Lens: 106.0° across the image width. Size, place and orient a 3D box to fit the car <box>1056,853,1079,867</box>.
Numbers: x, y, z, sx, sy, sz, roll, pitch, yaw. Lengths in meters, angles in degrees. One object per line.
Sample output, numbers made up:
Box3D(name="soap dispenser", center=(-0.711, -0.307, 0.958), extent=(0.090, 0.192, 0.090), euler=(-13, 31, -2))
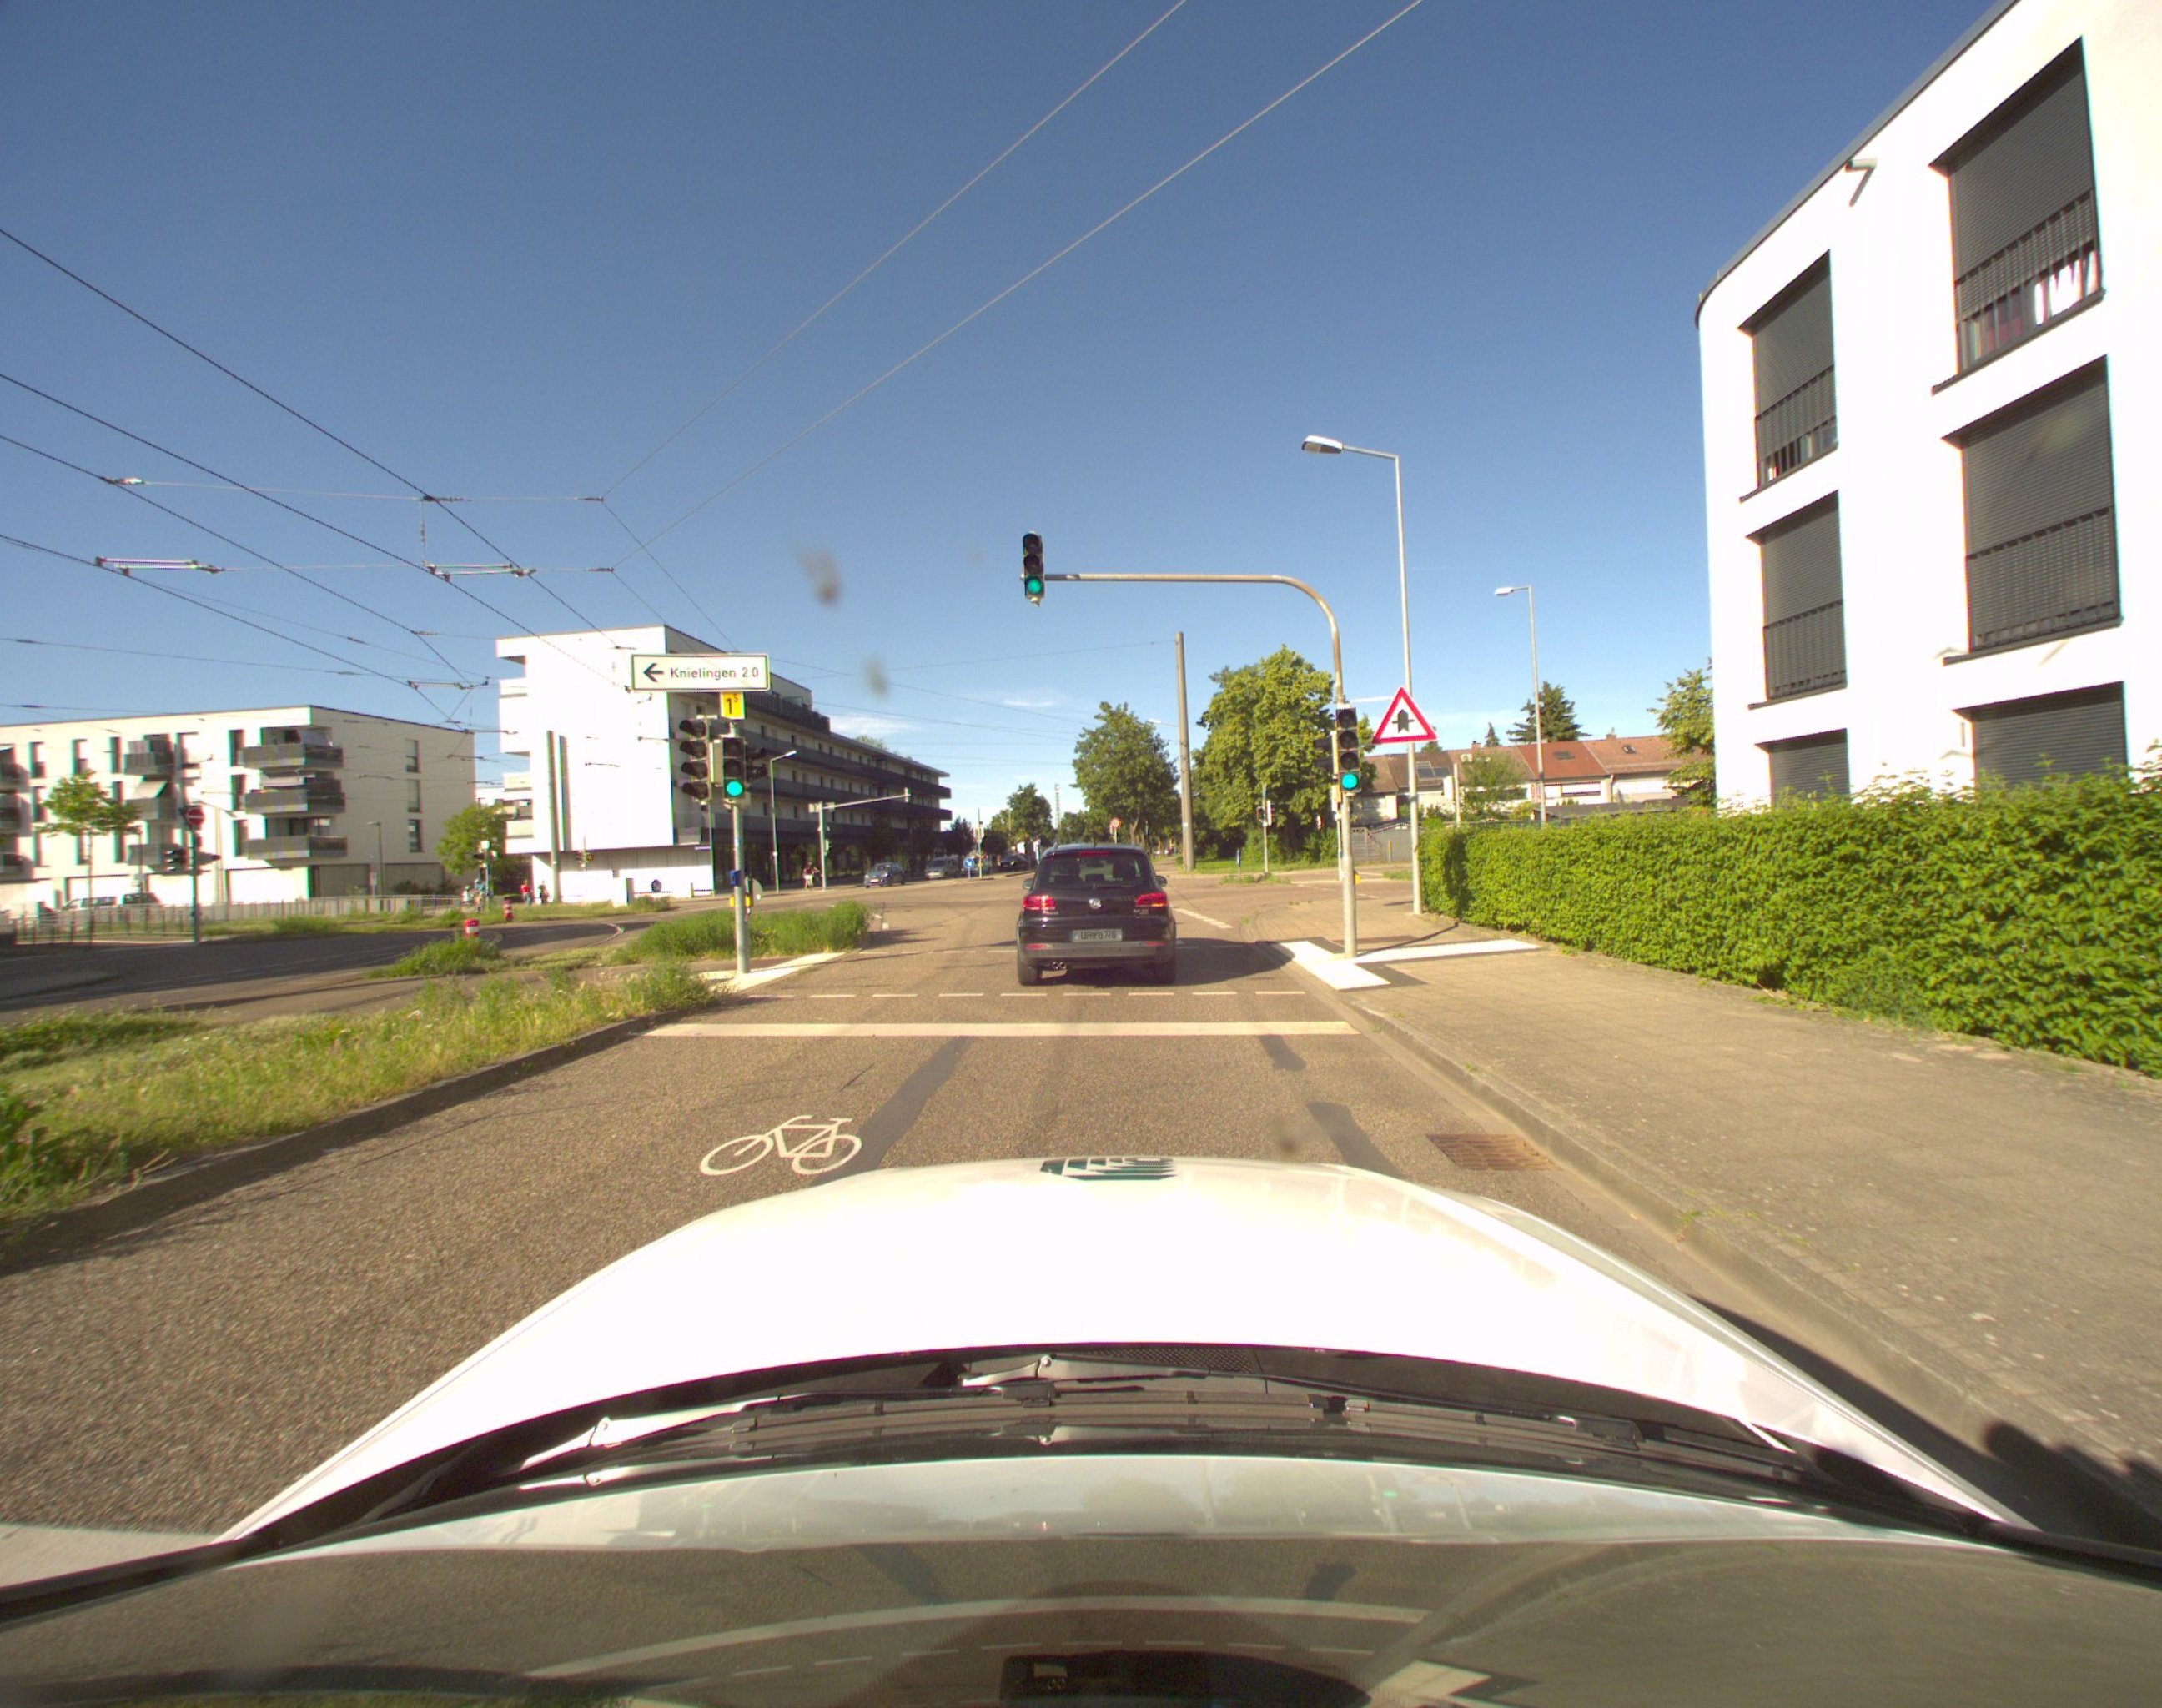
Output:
Box3D(name="car", center=(-1.628, 0.692, 101.688), extent=(1.980, 1.571, 4.013), euler=(-3, 0, 12))

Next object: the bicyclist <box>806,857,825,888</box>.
Box3D(name="bicyclist", center=(-17.613, 1.240, 54.086), extent=(0.785, 2.013, 0.817), euler=(-3, 0, 33))

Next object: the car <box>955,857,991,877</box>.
Box3D(name="car", center=(-9.270, 1.141, 70.427), extent=(1.981, 1.487, 3.554), euler=(-5, 0, 10))

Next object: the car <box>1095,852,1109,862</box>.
Box3D(name="car", center=(3.738, 0.493, 143.543), extent=(1.984, 1.737, 5.207), euler=(-3, 0, 6))

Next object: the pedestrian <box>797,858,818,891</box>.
Box3D(name="pedestrian", center=(-17.407, 1.310, 51.884), extent=(0.973, 2.013, 0.761), euler=(-3, 0, 1))

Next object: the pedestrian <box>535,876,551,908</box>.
Box3D(name="pedestrian", center=(-27.316, 1.921, 41.358), extent=(0.455, 1.622, 0.504), euler=(-1, -1, 1))

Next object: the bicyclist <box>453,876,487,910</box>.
Box3D(name="bicyclist", center=(-30.015, 1.896, 40.015), extent=(0.886, 1.592, 0.916), euler=(-3, 0, 12))

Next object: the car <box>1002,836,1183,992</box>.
Box3D(name="car", center=(0.236, 0.647, 10.995), extent=(1.921, 1.654, 4.517), euler=(-1, 0, 3))

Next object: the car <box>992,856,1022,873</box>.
Box3D(name="car", center=(-7.315, 1.026, 80.788), extent=(1.957, 1.534, 4.748), euler=(-3, 0, 6))

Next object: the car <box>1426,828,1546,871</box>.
Box3D(name="car", center=(17.056, -0.171, 34.478), extent=(4.144, 1.588, 1.951), euler=(-3, 0, 8))

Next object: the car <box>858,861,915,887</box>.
Box3D(name="car", center=(-12.247, 1.243, 51.482), extent=(1.684, 1.456, 4.467), euler=(-3, 0, 12))

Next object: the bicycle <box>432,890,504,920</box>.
Box3D(name="bicycle", center=(-30.005, 2.474, 39.932), extent=(0.894, 1.198, 2.835), euler=(-3, 0, 13))

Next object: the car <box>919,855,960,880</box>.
Box3D(name="car", center=(-10.786, 1.028, 62.481), extent=(1.984, 1.755, 4.367), euler=(-3, 0, 4))

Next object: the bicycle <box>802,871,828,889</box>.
Box3D(name="bicycle", center=(-17.669, 1.736, 54.136), extent=(1.621, 1.144, 0.750), euler=(-3, 0, 32))
